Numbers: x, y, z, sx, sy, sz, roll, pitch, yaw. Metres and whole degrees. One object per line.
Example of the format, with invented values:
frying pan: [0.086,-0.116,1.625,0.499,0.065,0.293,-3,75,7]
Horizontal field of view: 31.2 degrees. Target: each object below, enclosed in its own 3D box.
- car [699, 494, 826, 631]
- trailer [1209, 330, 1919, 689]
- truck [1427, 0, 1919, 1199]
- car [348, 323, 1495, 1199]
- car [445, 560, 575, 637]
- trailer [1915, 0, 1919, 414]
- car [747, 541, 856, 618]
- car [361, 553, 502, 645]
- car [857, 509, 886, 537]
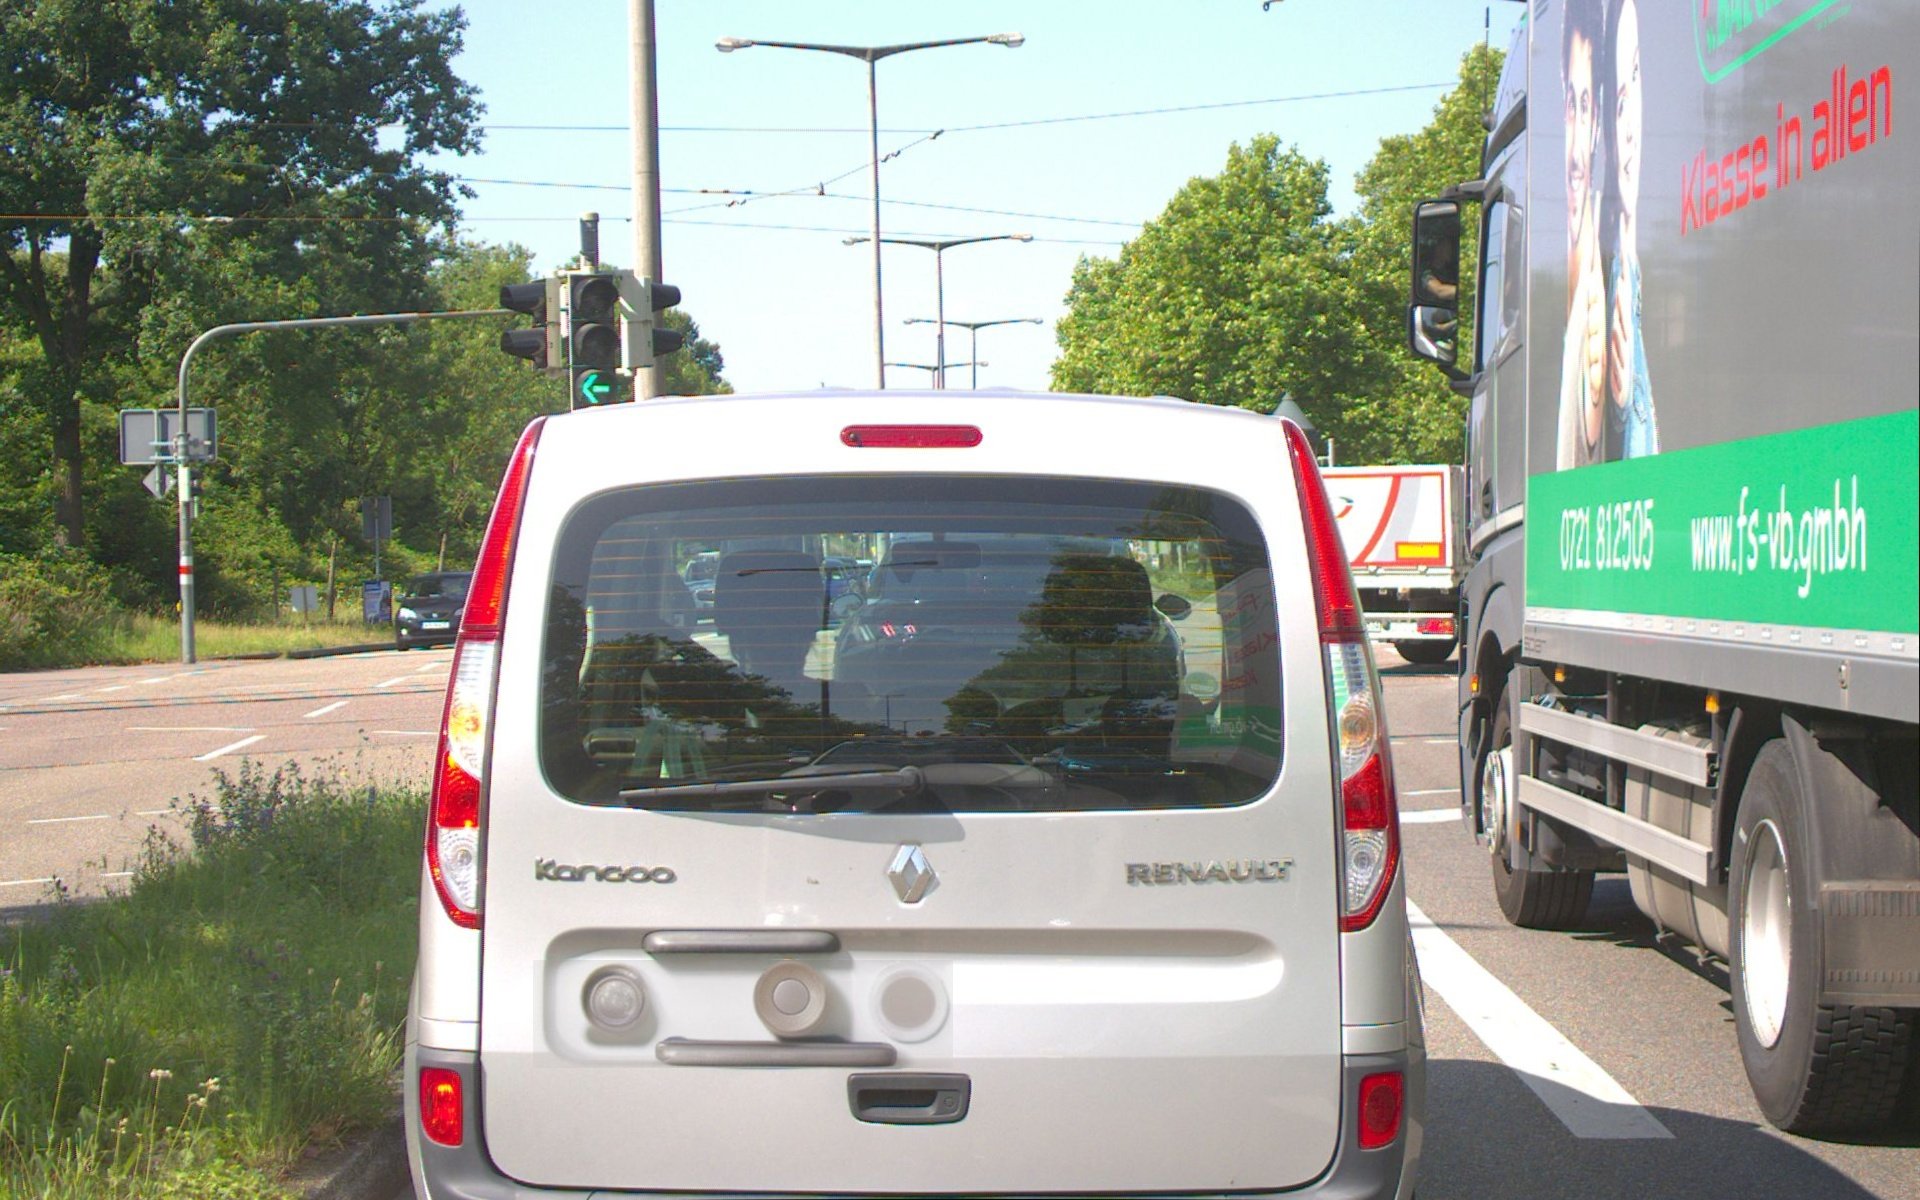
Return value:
car: [-3.916,-0.742,69.093,1.994,2.598,5.133,-2,0,2]
trailer: [7.615,-0.927,40.523,2.906,3.610,12.658,1,1,37]
truck: [3.294,-0.608,10.759,2.729,3.876,8.722,-1,0,2]
car: [-0.085,0.476,7.414,1.786,1.831,4.000,1,0,-1]
car: [-9.484,-0.043,72.712,1.994,1.535,4.236,-2,0,2]
trailer: [3.069,-0.539,2.526,2.736,3.863,7.735,-1,0,1]
car: [-3.466,-0.456,75.819,1.994,1.579,4.000,-2,0,3]
car: [-9.933,-0.040,64.912,1.911,1.636,3.737,-2,0,2]
car: [-6.550,-5.687,254.104,1.888,2.007,4.000,1,0,2]
